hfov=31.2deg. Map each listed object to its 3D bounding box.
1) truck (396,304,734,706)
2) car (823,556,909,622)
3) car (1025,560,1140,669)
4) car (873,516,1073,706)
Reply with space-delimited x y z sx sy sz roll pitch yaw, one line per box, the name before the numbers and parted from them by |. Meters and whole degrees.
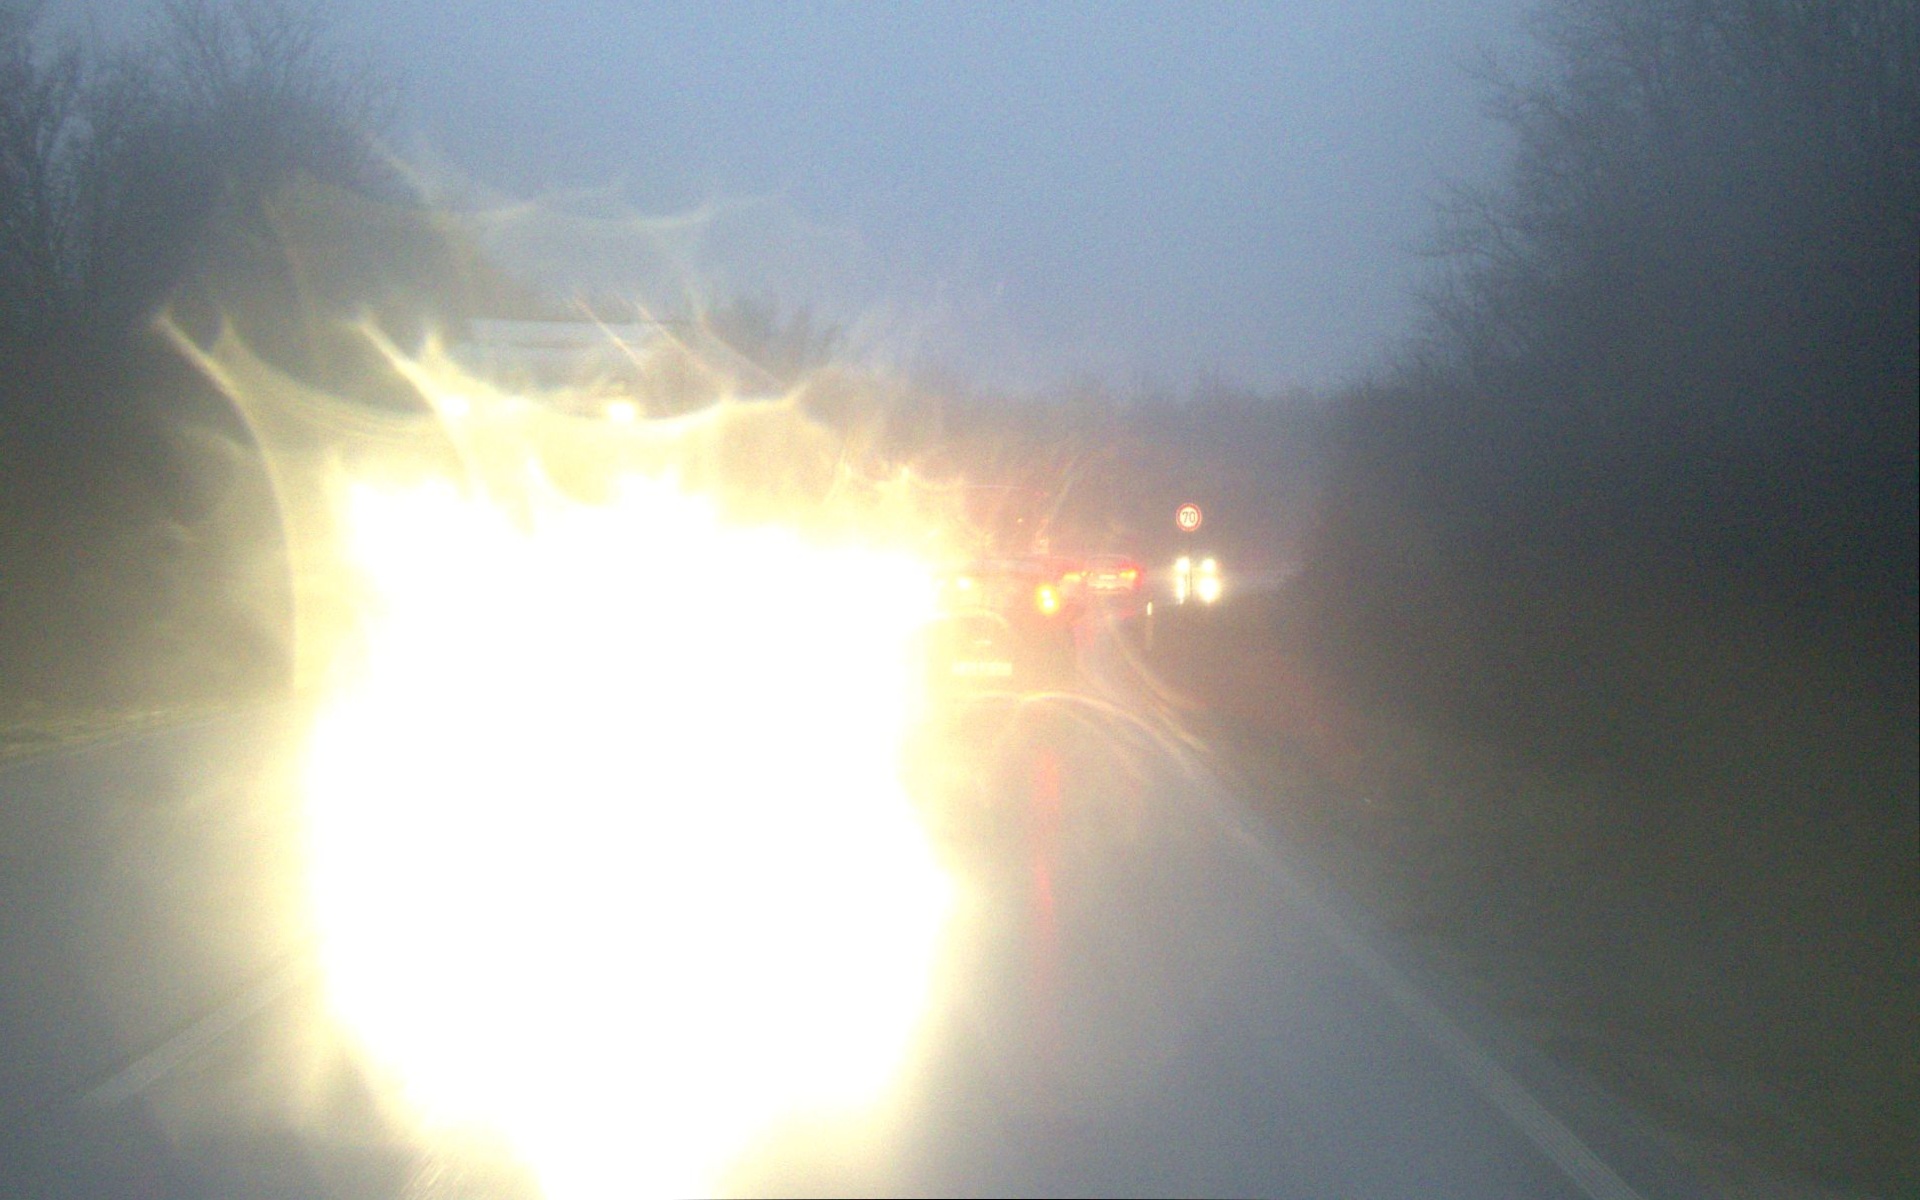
truck | -4.305 -1.049 39.034 2.799 4.112 7.199 0 1 1
car | -2.220 -0.282 82.374 1.745 1.468 4.483 2 1 2
car | 2.409 0.255 66.771 1.994 2.007 3.999 0 1 5
car | 0.068 0.057 31.899 1.727 1.637 4.000 -1 1 -1
